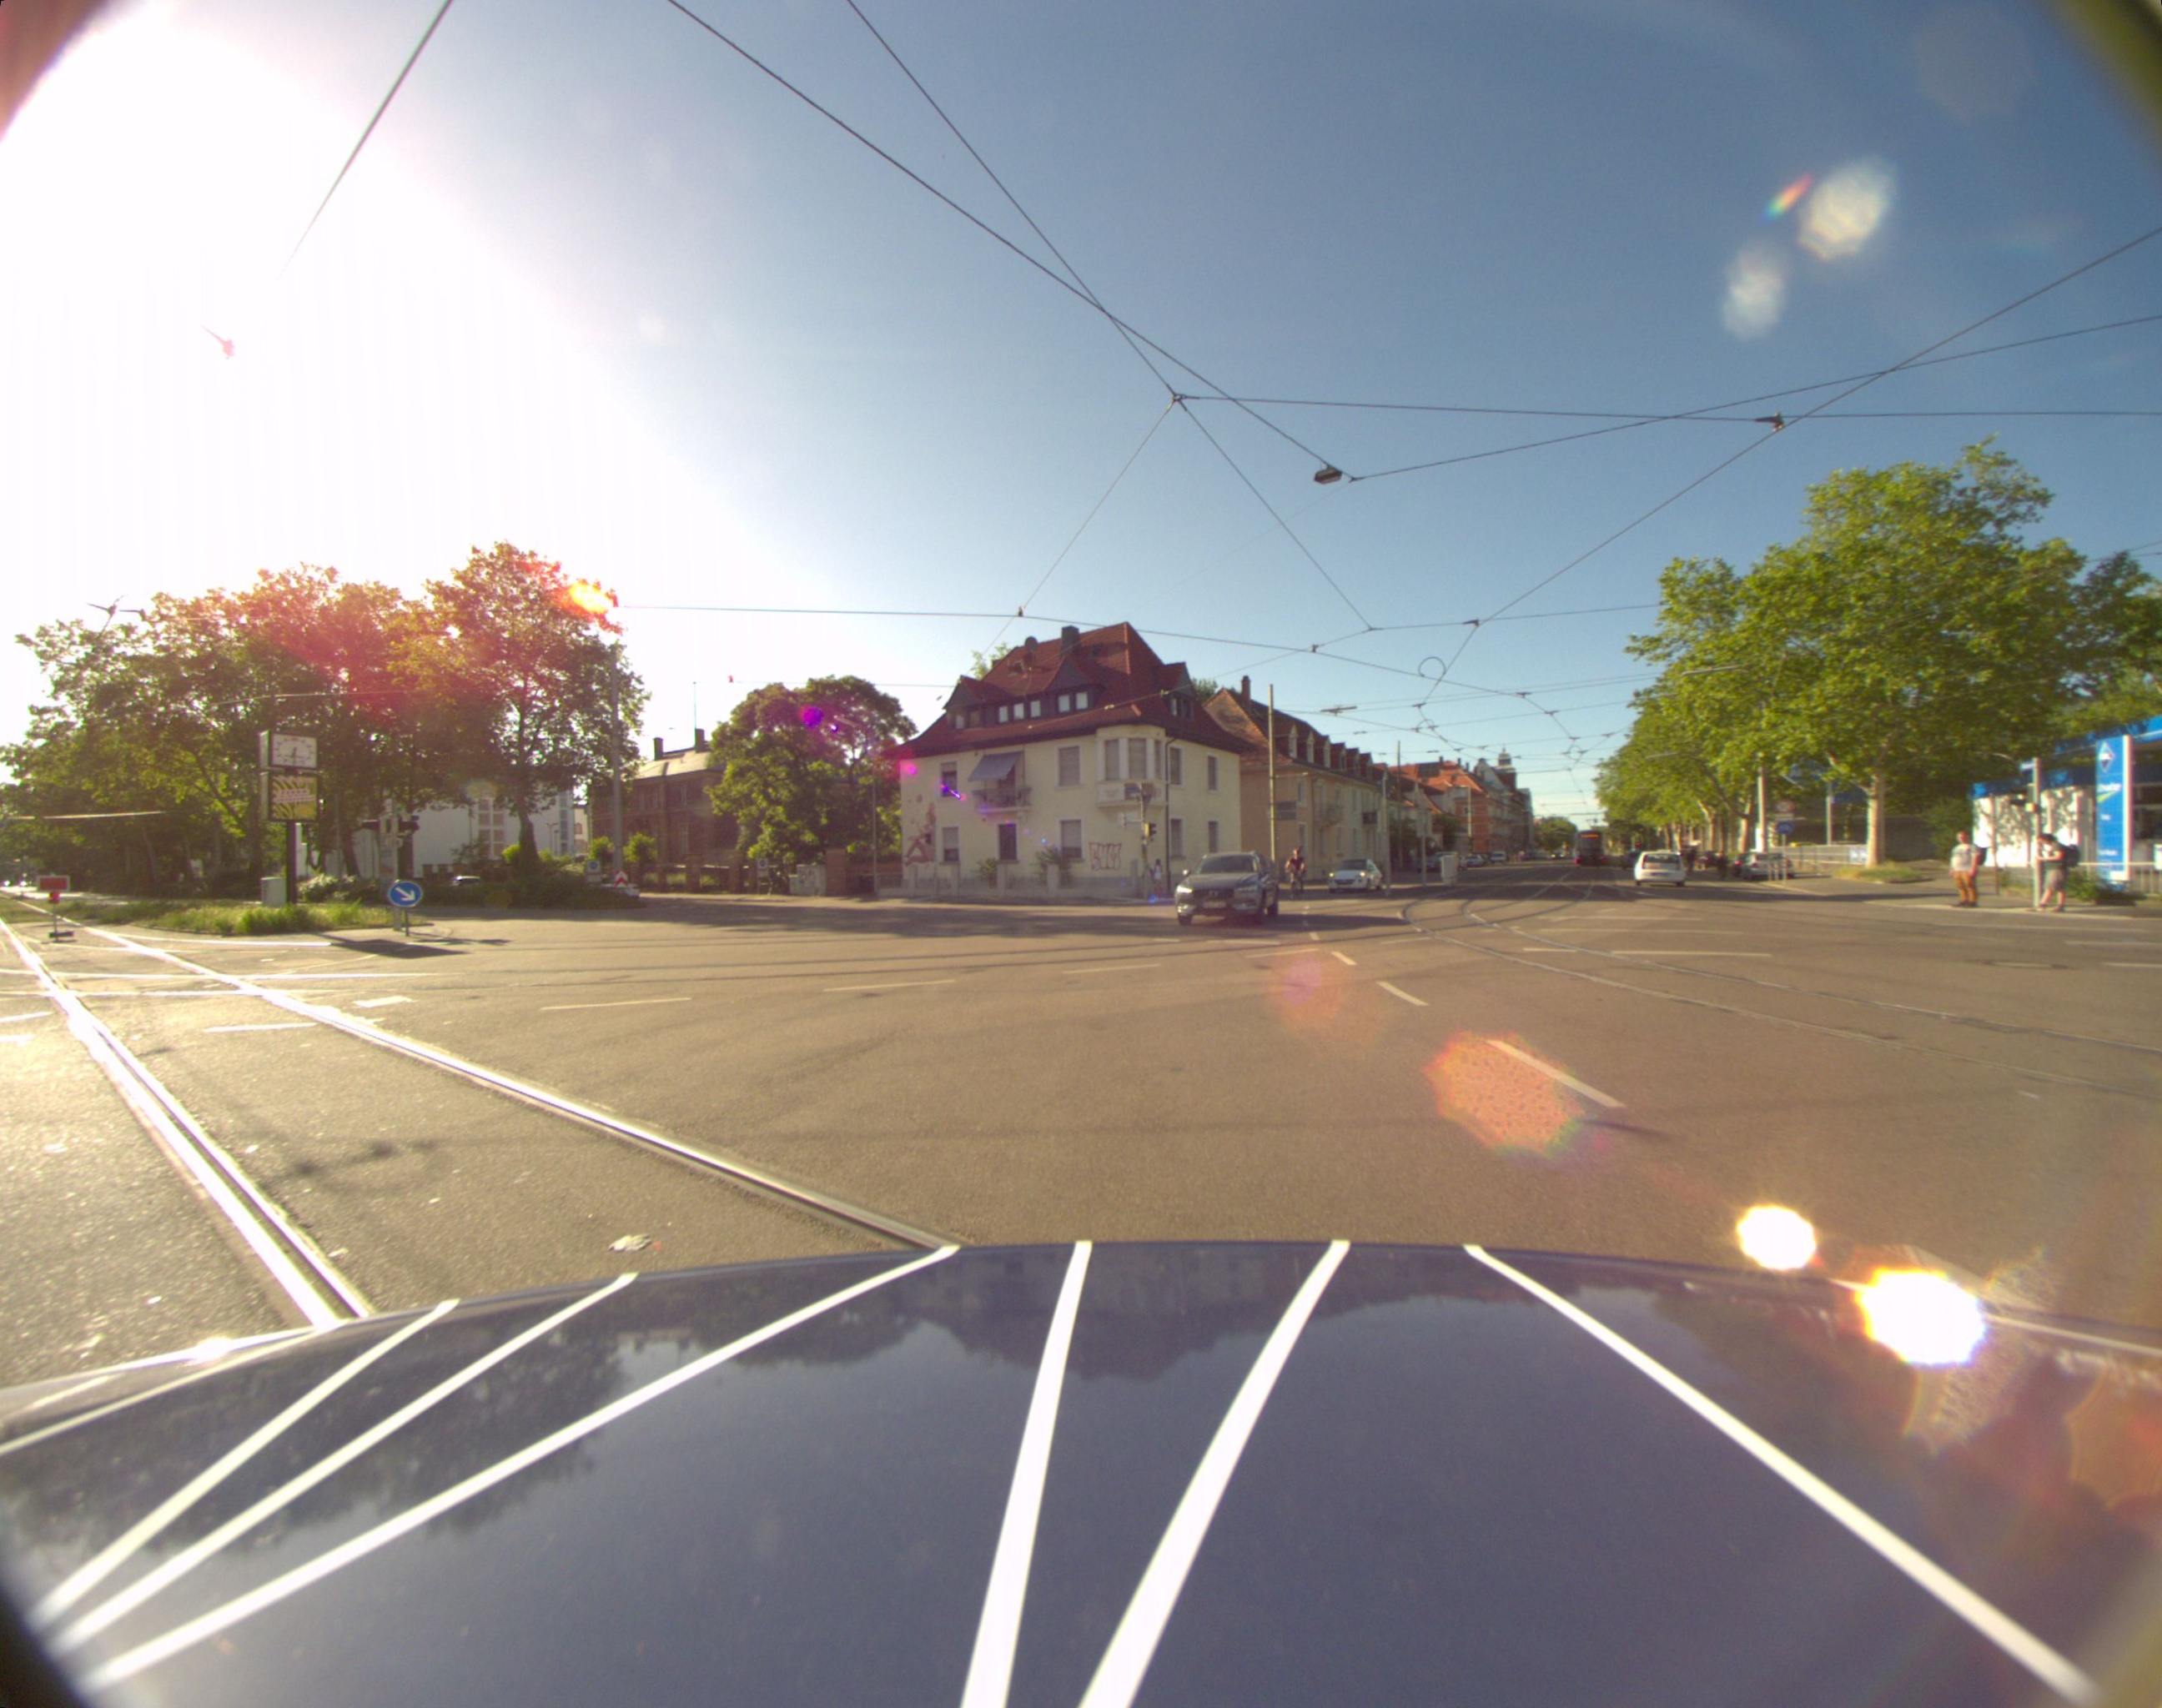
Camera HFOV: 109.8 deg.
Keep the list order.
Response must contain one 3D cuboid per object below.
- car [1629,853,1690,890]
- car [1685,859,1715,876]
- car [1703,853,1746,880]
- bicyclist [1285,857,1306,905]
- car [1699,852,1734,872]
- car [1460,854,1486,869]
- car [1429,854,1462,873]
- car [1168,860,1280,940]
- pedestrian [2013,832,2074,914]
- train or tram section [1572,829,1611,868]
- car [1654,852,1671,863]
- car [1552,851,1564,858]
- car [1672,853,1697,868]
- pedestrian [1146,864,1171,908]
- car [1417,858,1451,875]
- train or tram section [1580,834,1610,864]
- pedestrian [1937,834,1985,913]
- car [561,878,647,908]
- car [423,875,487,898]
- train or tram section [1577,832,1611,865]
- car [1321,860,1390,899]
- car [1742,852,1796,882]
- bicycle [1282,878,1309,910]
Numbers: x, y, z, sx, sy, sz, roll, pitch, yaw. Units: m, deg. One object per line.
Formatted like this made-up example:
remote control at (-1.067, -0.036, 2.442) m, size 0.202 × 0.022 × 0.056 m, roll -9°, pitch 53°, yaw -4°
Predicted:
car at (24.453, 0.700, 32.211) m, size 1.719 × 1.488 × 3.591 m, roll -1°, pitch 0°, yaw 32°
car at (55.986, 1.215, 68.763) m, size 1.878 × 1.477 × 4.008 m, roll -1°, pitch 0°, yaw 36°
car at (38.259, 0.736, 45.221) m, size 1.776 × 1.416 × 3.318 m, roll -5°, pitch -3°, yaw 39°
bicyclist at (7.694, 0.953, 27.239) m, size 0.599 × 1.709 × 0.664 m, roll -1°, pitch 0°, yaw 26°
car at (50.833, 0.616, 60.795) m, size 1.878 × 1.477 × 4.008 m, roll -1°, pitch 0°, yaw 36°
car at (45.853, 0.871, 88.899) m, size 1.929 × 1.750 × 5.324 m, roll -1°, pitch 0°, yaw 35°
car at (35.475, 0.902, 73.860) m, size 1.929 × 1.834 × 5.324 m, roll -1°, pitch 0°, yaw 35°
car at (3.555, 0.986, 18.152) m, size 1.915 × 1.621 × 4.509 m, roll -1°, pitch 0°, yaw 20°
pedestrian at (21.658, 0.409, 17.100) m, size 0.742 × 1.790 × 0.741 m, roll -1°, pitch 0°, yaw -31°
train or tram section at (52.274, -0.536, 77.655) m, size 3.056 × 3.591 × 12.139 m, roll -1°, pitch 0°, yaw 35°
car at (84.644, 0.531, 110.634) m, size 1.878 × 1.542 × 4.008 m, roll -1°, pitch 0°, yaw 36°
car at (91.825, 0.088, 146.111) m, size 1.878 × 1.477 × 4.008 m, roll -1°, pitch 0°, yaw 33°
car at (64.928, 0.716, 81.801) m, size 1.878 × 1.566 × 4.008 m, roll -1°, pitch 0°, yaw 36°
pedestrian at (3.130, 1.276, 30.743) m, size 0.675 × 1.731 × 0.687 m, roll 0°, pitch 3°, yaw -30°
car at (31.986, 1.142, 68.857) m, size 1.878 × 1.477 × 4.008 m, roll -1°, pitch 0°, yaw 39°
train or tram section at (66.287, -0.623, 97.961) m, size 3.056 × 3.591 × 12.139 m, roll -1°, pitch 0°, yaw 34°
pedestrian at (21.598, 0.471, 18.660) m, size 0.629 × 1.914 × 0.585 m, roll -1°, pitch 0°, yaw 35°
car at (-24.516, 1.965, 38.983) m, size 4.490 × 1.445 × 1.923 m, roll -1°, pitch 0°, yaw 32°
car at (-41.732, 2.136, 50.663) m, size 4.490 × 1.445 × 1.923 m, roll -1°, pitch 0°, yaw 32°
train or tram section at (59.318, -0.588, 87.823) m, size 3.056 × 3.591 × 12.528 m, roll -1°, pitch 0°, yaw 34°
car at (12.683, 1.128, 34.911) m, size 1.913 × 1.621 × 4.512 m, roll -1°, pitch 0°, yaw 34°
car at (35.426, 0.661, 39.216) m, size 1.776 × 1.416 × 3.545 m, roll -5°, pitch -3°, yaw 39°
bicycle at (7.703, 1.406, 27.249) m, size 0.599 × 1.050 × 1.993 m, roll -1°, pitch 0°, yaw 25°
